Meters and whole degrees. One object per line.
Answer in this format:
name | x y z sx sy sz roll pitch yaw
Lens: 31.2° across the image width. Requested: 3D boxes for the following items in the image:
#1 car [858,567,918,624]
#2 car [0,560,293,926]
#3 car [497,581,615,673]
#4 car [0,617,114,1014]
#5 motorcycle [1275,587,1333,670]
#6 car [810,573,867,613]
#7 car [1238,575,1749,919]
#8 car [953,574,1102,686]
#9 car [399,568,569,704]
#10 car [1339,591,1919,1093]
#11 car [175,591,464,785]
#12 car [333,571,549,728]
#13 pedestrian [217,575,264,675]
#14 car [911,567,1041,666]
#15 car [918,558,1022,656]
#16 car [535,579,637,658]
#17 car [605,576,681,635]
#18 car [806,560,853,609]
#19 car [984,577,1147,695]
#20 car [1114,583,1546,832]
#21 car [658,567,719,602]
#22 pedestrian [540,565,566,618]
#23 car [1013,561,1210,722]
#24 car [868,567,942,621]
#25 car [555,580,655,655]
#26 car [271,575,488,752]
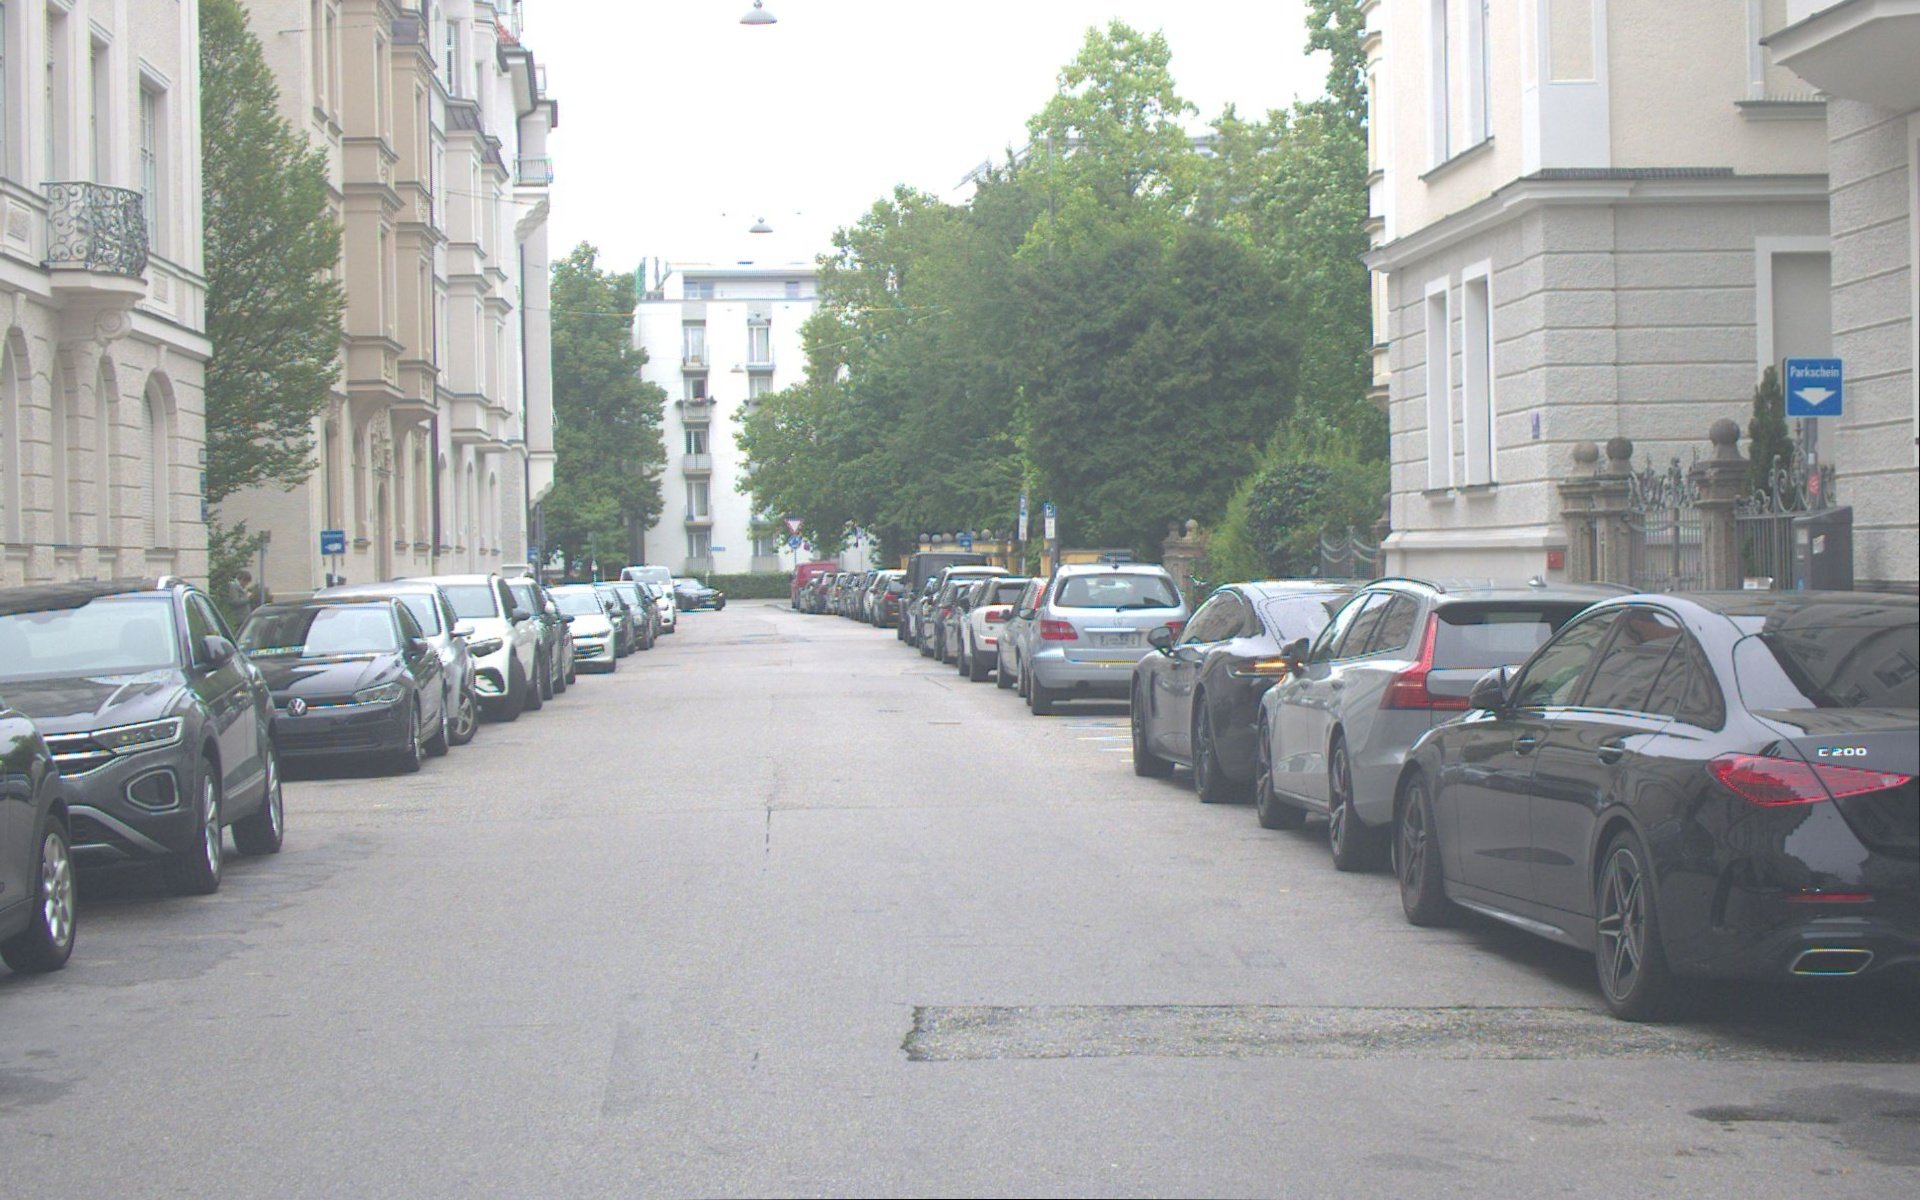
car | -2.165 -0.128 103.148 1.513 1.656 3.675 1 0 -5
car | -4.552 0.650 17.548 1.726 1.613 4.122 -3 1 -5
car | -6.984 0.435 59.738 1.836 1.429 4.245 -2 1 -5
car | -4.395 0.841 12.131 1.836 1.389 4.245 -3 1 -2
motorcycle | 4.776 0.384 47.815 0.607 1.108 1.964 -1 1 0
car | -4.670 -0.269 131.770 1.838 1.513 3.948 1 0 -7
car | 2.627 0.662 17.968 1.760 1.480 4.421 2 1 -2
car | 0.903 0.391 48.210 1.784 1.499 4.065 0 0 -3
car | -6.093 0.422 44.373 1.836 1.613 4.245 -1 1 -3
car | 2.868 0.723 12.697 1.836 1.394 4.975 1 1 -6
car | -5.332 0.683 29.108 1.792 1.410 4.279 -3 1 -3
car | -5.787 0.503 38.822 1.915 1.613 4.572 -1 1 -2
pedestrian | -11.760 0.402 56.212 0.673 1.620 0.631 -1 0 -6
car | 0.244 0.267 60.519 1.750 1.605 4.425 1 1 -6
car | 0.150 0.131 65.501 1.722 1.763 4.413 2 0 -2
car | -7.483 0.349 69.106 1.833 1.429 4.554 -2 1 -4
car | -8.762 0.135 95.264 1.836 1.433 4.275 -3 1 -2
car | -5.401 -0.671 142.602 1.836 1.920 4.005 2 1 -1
car | 1.287 0.420 43.113 1.754 1.401 3.452 0 0 -3
car | 2.352 0.636 23.166 1.993 1.452 4.713 -1 1 -5
car | -11.585 -0.671 146.587 1.874 1.423 4.410 -1 1 -14
pedestrian | -13.102 -0.282 110.664 0.792 1.673 0.700 -1 1 -7
car | 1.579 0.399 37.298 1.822 1.564 4.401 2 1 -1
car | -1.518 -0.156 93.254 1.838 1.408 4.343 1 0 -3
car | -7.674 0.354 74.713 1.836 1.431 4.245 -3 1 -2
car | -5.637 0.572 33.794 1.782 1.536 4.258 -3 1 -6
